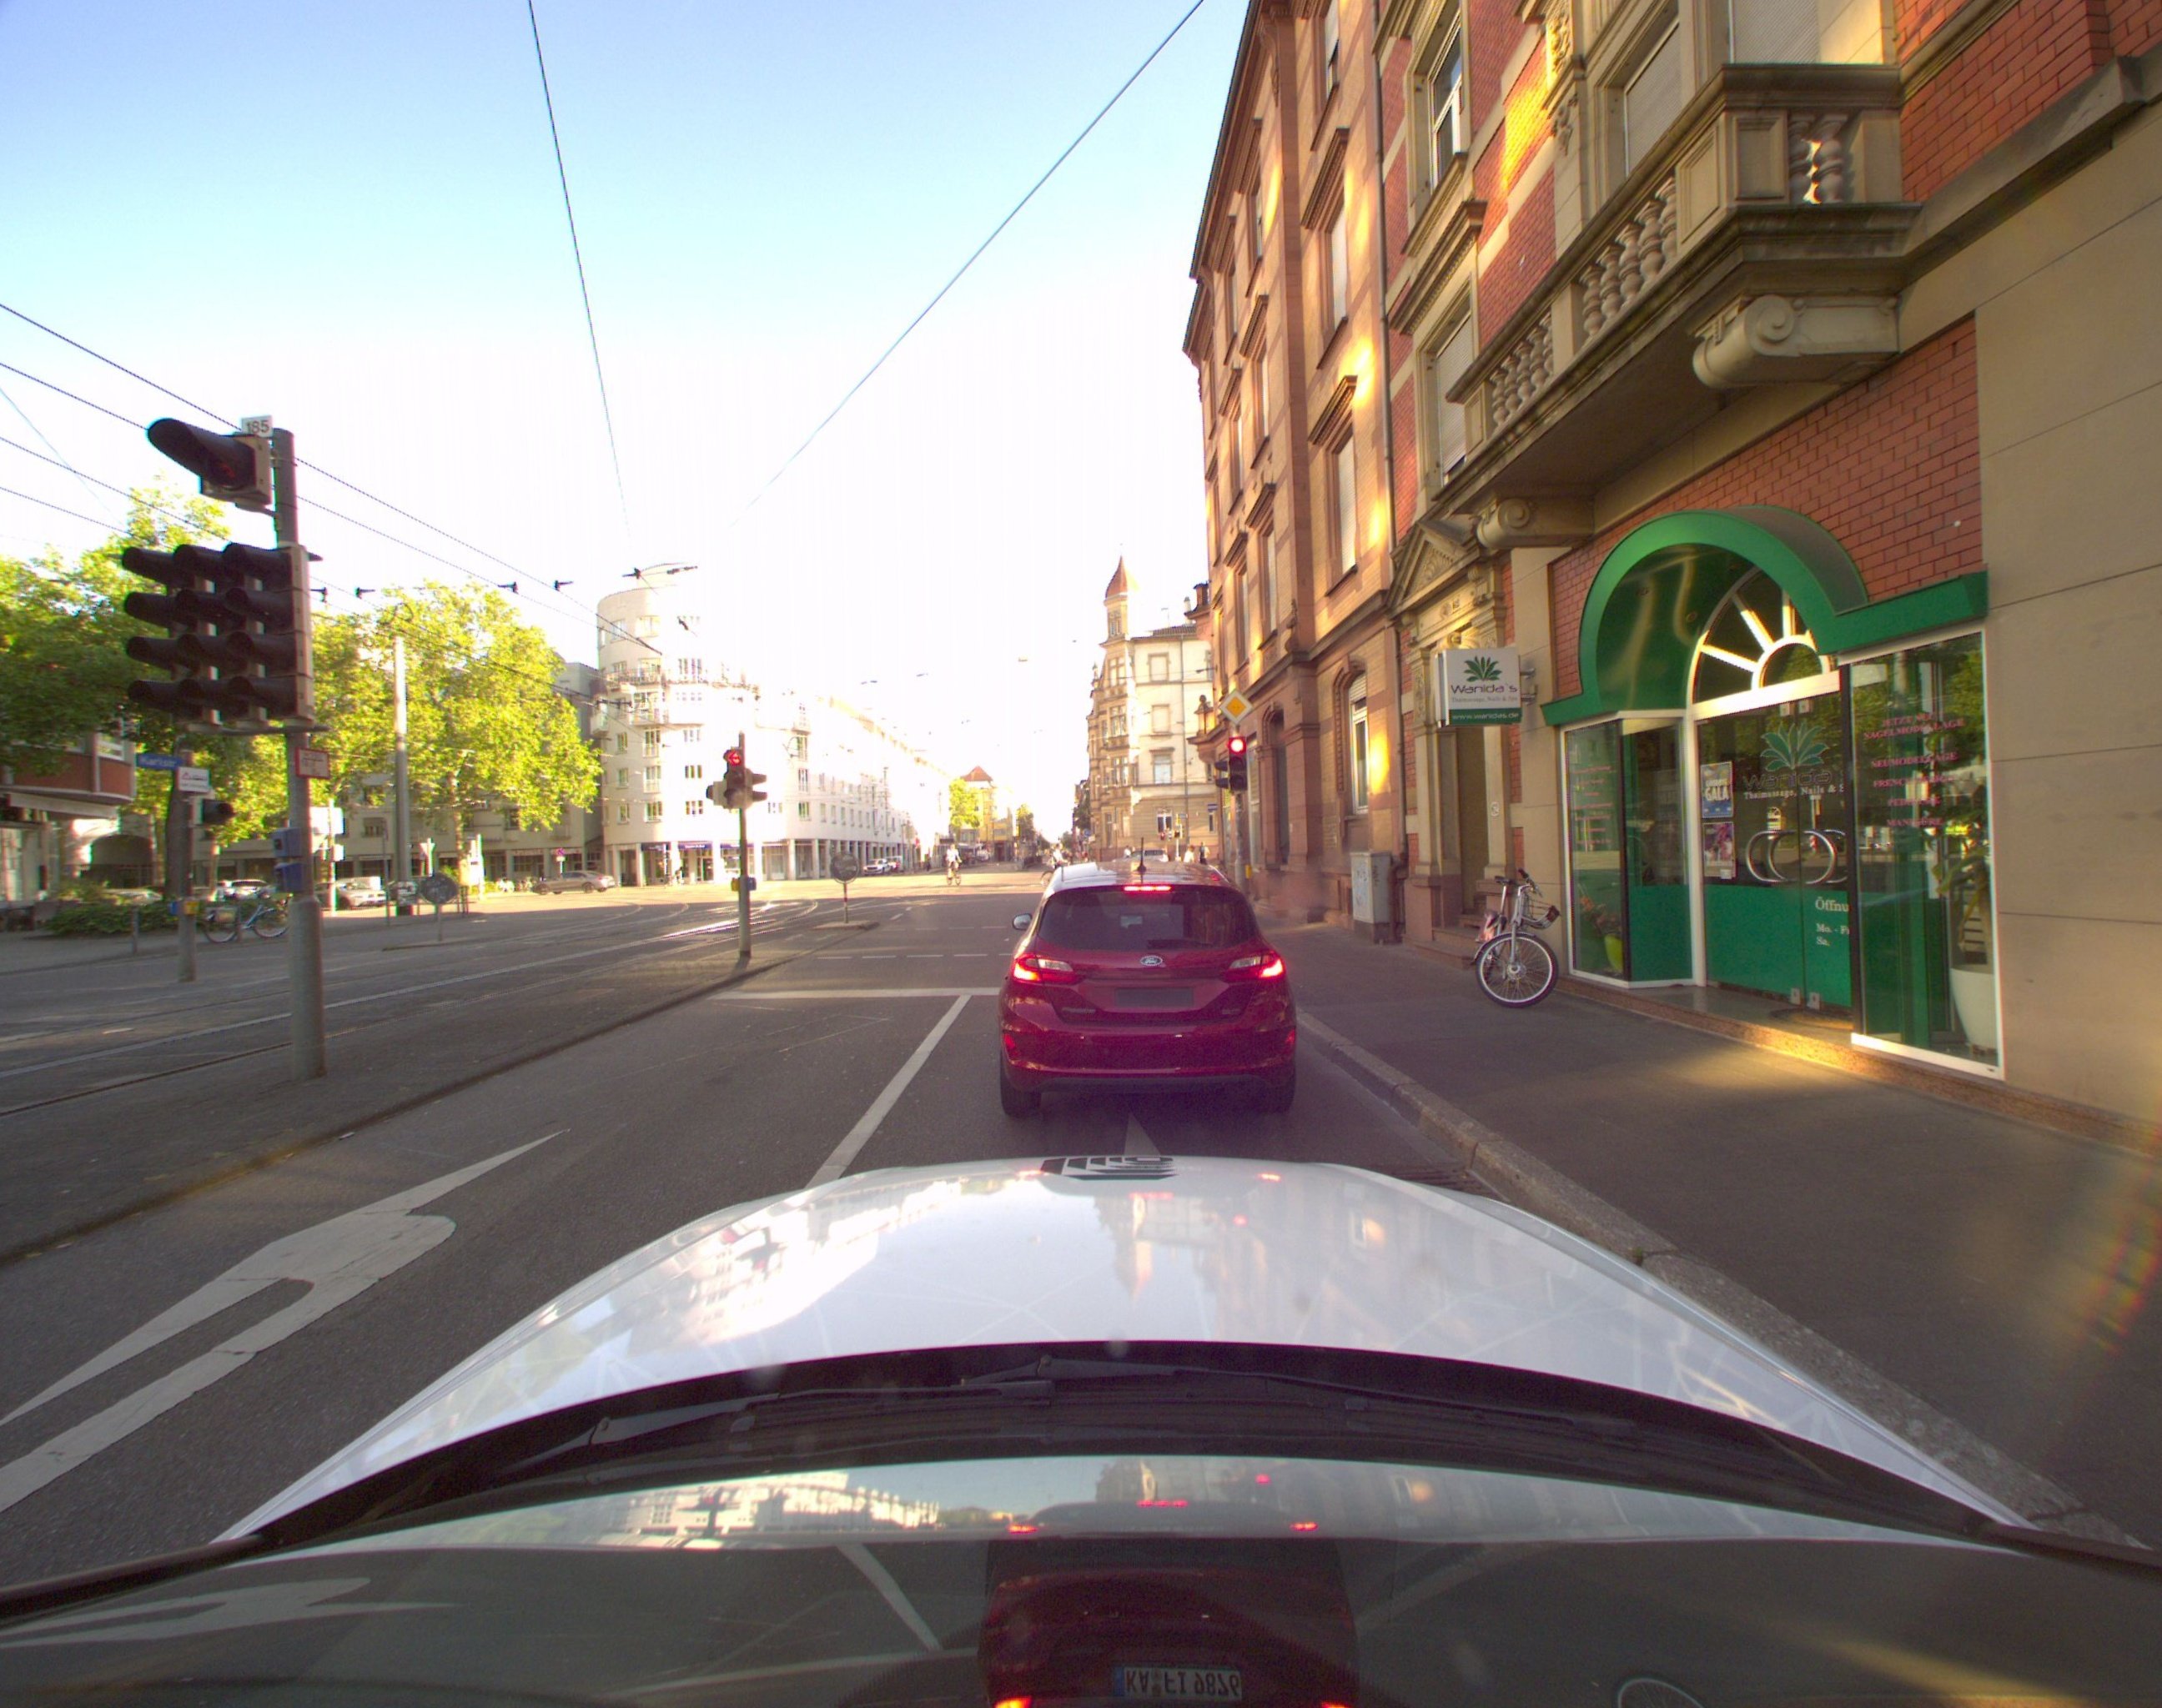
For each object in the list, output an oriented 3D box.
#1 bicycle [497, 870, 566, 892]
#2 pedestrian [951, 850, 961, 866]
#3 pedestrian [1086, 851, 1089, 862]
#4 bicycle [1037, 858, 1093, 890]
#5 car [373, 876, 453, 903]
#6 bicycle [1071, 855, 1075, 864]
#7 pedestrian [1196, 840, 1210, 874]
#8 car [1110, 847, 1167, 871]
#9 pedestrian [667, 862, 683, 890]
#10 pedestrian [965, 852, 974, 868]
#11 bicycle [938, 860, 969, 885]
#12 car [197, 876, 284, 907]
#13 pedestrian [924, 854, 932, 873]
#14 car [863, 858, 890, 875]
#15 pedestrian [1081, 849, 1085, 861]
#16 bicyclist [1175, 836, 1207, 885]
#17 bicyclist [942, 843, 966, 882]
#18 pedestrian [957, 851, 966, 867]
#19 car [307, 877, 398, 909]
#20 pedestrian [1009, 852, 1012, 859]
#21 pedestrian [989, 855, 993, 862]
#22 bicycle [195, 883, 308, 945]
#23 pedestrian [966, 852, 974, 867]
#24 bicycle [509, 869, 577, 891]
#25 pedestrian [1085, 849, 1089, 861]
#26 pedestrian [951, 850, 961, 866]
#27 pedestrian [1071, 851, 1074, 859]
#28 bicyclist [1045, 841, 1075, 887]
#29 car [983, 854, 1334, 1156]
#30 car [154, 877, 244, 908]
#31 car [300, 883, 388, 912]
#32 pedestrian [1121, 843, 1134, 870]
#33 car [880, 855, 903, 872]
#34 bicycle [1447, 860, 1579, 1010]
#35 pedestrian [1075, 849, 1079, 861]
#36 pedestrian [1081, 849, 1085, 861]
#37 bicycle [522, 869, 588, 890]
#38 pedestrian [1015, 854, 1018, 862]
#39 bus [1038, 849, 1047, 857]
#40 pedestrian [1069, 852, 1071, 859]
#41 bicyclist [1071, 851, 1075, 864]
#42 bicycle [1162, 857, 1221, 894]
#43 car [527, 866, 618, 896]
[{"bbox_3d":[-43.005,2.092,63.733,4.685,1.530,1.067,-2,0,2],"label":"bicycle"},{"bbox_3d":[-15.540,0.504,101.176,0.953,2.013,1.048,-2,0,-1],"label":"pedestrian"},{"bbox_3d":[0.994,0.327,124.055,0.412,1.680,0.485,-2,0,1],"label":"pedestrian"},{"bbox_3d":[-0.621,0.772,31.268,2.023,1.147,0.815,-2,0,34],"label":"bicycle"},{"bbox_3d":[-44.178,2.346,53.916,3.969,1.531,1.618,-2,0,4],"label":"car"},{"bbox_3d":[-1.040,0.699,105.929,0.524,1.089,1.487,-2,0,1],"label":"bicycle"},{"bbox_3d":[6.416,0.162,42.893,0.558,1.755,0.650,-3,0,1],"label":"pedestrian"},{"bbox_3d":[4.127,0.376,58.675,3.870,1.549,1.459,-2,0,11],"label":"car"},{"bbox_3d":[-29.733,1.606,59.604,0.949,2.013,0.931,-2,0,-29],"label":"pedestrian"},{"bbox_3d":[-14.193,0.755,103.666,1.043,2.013,0.958,-2,0,-3],"label":"pedestrian"},{"bbox_3d":[-6.263,0.893,39.861,0.813,1.147,1.991,-2,0,-30],"label":"bicycle"},{"bbox_3d":[-60.403,2.633,58.598,1.986,1.964,4.001,-2,0,1],"label":"car"},{"bbox_3d":[-13.923,0.888,73.977,0.521,1.681,0.487,-2,0,5],"label":"pedestrian"},{"bbox_3d":[-20.158,1.231,80.518,1.760,1.546,3.460,-2,0,0],"label":"car"},{"bbox_3d":[0.348,0.187,133.849,0.574,2.013,0.632,-2,0,5],"label":"pedestrian"},{"bbox_3d":[3.713,0.212,27.570,0.734,1.627,0.758,0,-1,-31],"label":"bicyclist"},{"bbox_3d":[-6.205,0.406,39.734,0.813,1.821,0.984,-2,0,-30],"label":"bicyclist"},{"bbox_3d":[-15.427,0.621,105.336,1.043,2.013,0.958,-2,0,-3],"label":"pedestrian"},{"bbox_3d":[-40.241,2.142,45.032,3.978,1.559,1.636,-2,0,11],"label":"car"},{"bbox_3d":[-17.042,0.403,197.474,0.630,1.604,0.575,-2,0,-18],"label":"pedestrian"},{"bbox_3d":[-17.951,0.856,162.702,0.579,1.488,0.525,-2,0,-3],"label":"pedestrian"},{"bbox_3d":[-19.752,1.391,19.458,0.668,1.327,1.907,1,0,2],"label":"bicycle"},{"bbox_3d":[-15.355,0.719,112.334,0.954,2.013,1.047,-2,0,-3],"label":"pedestrian"},{"bbox_3d":[-42.844,2.073,64.870,4.685,1.530,1.067,-2,0,2],"label":"bicycle"},{"bbox_3d":[1.050,0.183,134.835,0.574,2.013,0.632,-2,0,5],"label":"pedestrian"},{"bbox_3d":[-15.923,0.484,103.641,1.043,2.013,0.958,-2,0,-3],"label":"pedestrian"},{"bbox_3d":[-2.164,0.265,200.951,0.575,1.887,0.630,-2,0,-1],"label":"pedestrian"},{"bbox_3d":[-0.810,0.364,31.379,0.784,1.726,0.815,-2,0,34],"label":"bicyclist"},{"bbox_3d":[0.311,0.741,6.028,1.750,1.466,3.941,-1,0,-3],"label":"car"},{"bbox_3d":[-63.322,2.726,58.581,1.986,1.964,4.001,-2,0,1],"label":"car"},{"bbox_3d":[-36.919,2.174,40.799,3.968,1.295,1.781,-2,0,24],"label":"car"},{"bbox_3d":[3.522,0.186,61.710,0.750,2.013,0.657,-2,0,35],"label":"pedestrian"},{"bbox_3d":[-20.434,1.055,88.023,1.696,1.718,3.562,-2,0,-1],"label":"car"},{"bbox_3d":[3.872,0.676,7.432,0.710,1.152,1.662,-4,0,17],"label":"bicycle"},{"bbox_3d":[-0.656,0.227,138.295,0.574,2.013,0.632,-2,0,5],"label":"pedestrian"},{"bbox_3d":[0.290,0.214,138.459,0.574,2.013,0.632,-2,0,5],"label":"pedestrian"},{"bbox_3d":[-42.848,2.082,66.422,4.685,1.530,1.067,-2,0,2],"label":"bicycle"},{"bbox_3d":[-12.690,0.776,160.922,0.522,1.488,0.583,-2,0,1],"label":"pedestrian"},{"bbox_3d":[-10.350,-0.335,217.705,1.919,2.013,7.137,-2,0,1],"label":"bus"},{"bbox_3d":[-2.718,0.343,204.299,0.575,1.887,0.669,-2,0,-1],"label":"pedestrian"},{"bbox_3d":[-1.055,0.401,105.845,0.498,1.676,0.545,-2,0,0],"label":"bicyclist"},{"bbox_3d":[3.771,0.716,27.622,2.031,1.177,0.622,0,-1,-31],"label":"bicycle"},{"bbox_3d":[-31.936,1.671,51.231,4.442,1.641,1.699,-2,0,-8],"label":"car"}]
